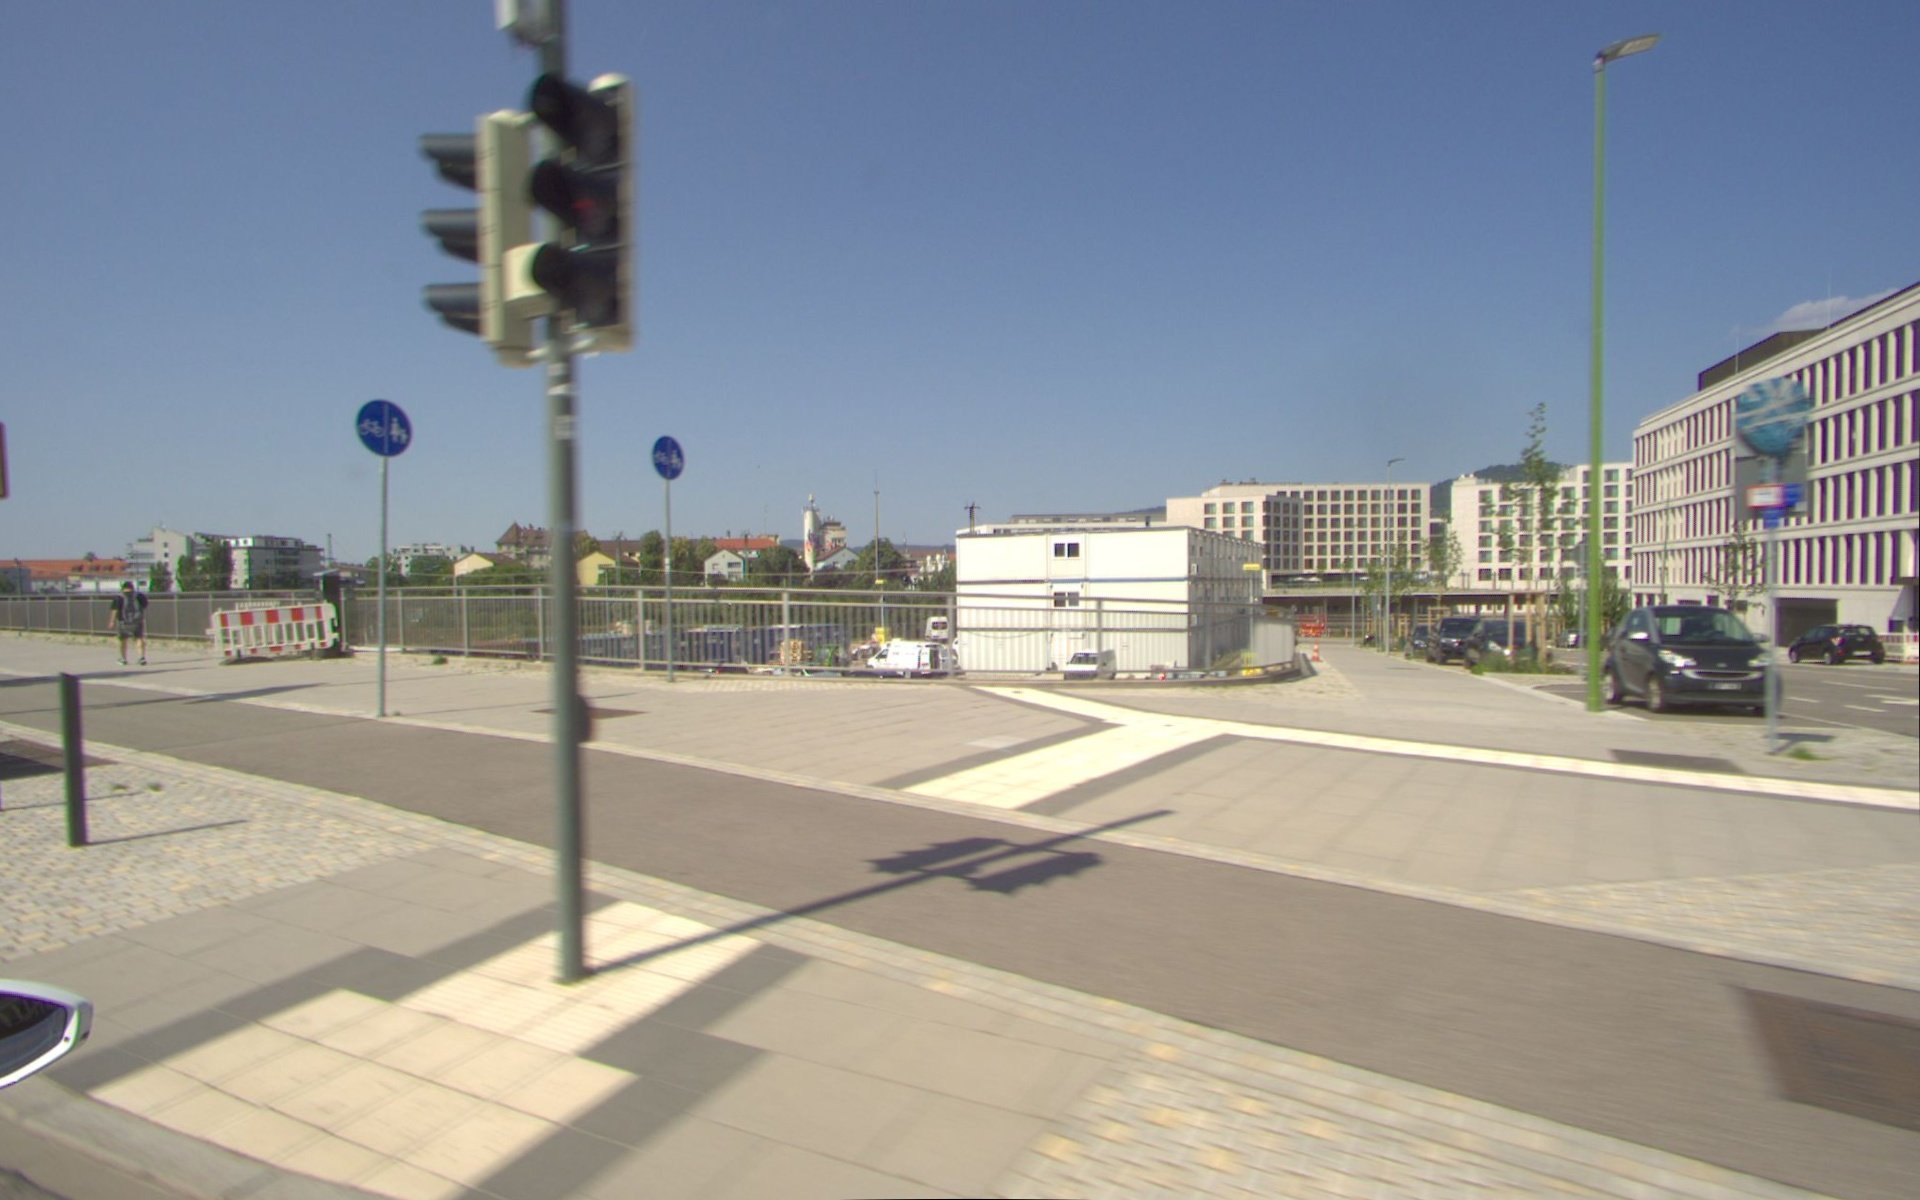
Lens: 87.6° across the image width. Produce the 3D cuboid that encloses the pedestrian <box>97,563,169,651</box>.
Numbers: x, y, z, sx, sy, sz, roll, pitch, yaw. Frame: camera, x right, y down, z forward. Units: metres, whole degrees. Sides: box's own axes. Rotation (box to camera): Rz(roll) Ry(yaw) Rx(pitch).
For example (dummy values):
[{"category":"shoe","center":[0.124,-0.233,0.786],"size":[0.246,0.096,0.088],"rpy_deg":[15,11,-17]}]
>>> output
[{"category":"pedestrian","center":[-15.950,0.118,19.315],"size":[0.936,1.632,0.748],"rpy_deg":[1,4,35]}]

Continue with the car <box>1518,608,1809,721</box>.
[{"category":"car","center":[10.341,0.893,15.001],"size":[1.433,1.483,3.362],"rpy_deg":[0,-1,-18]}]
